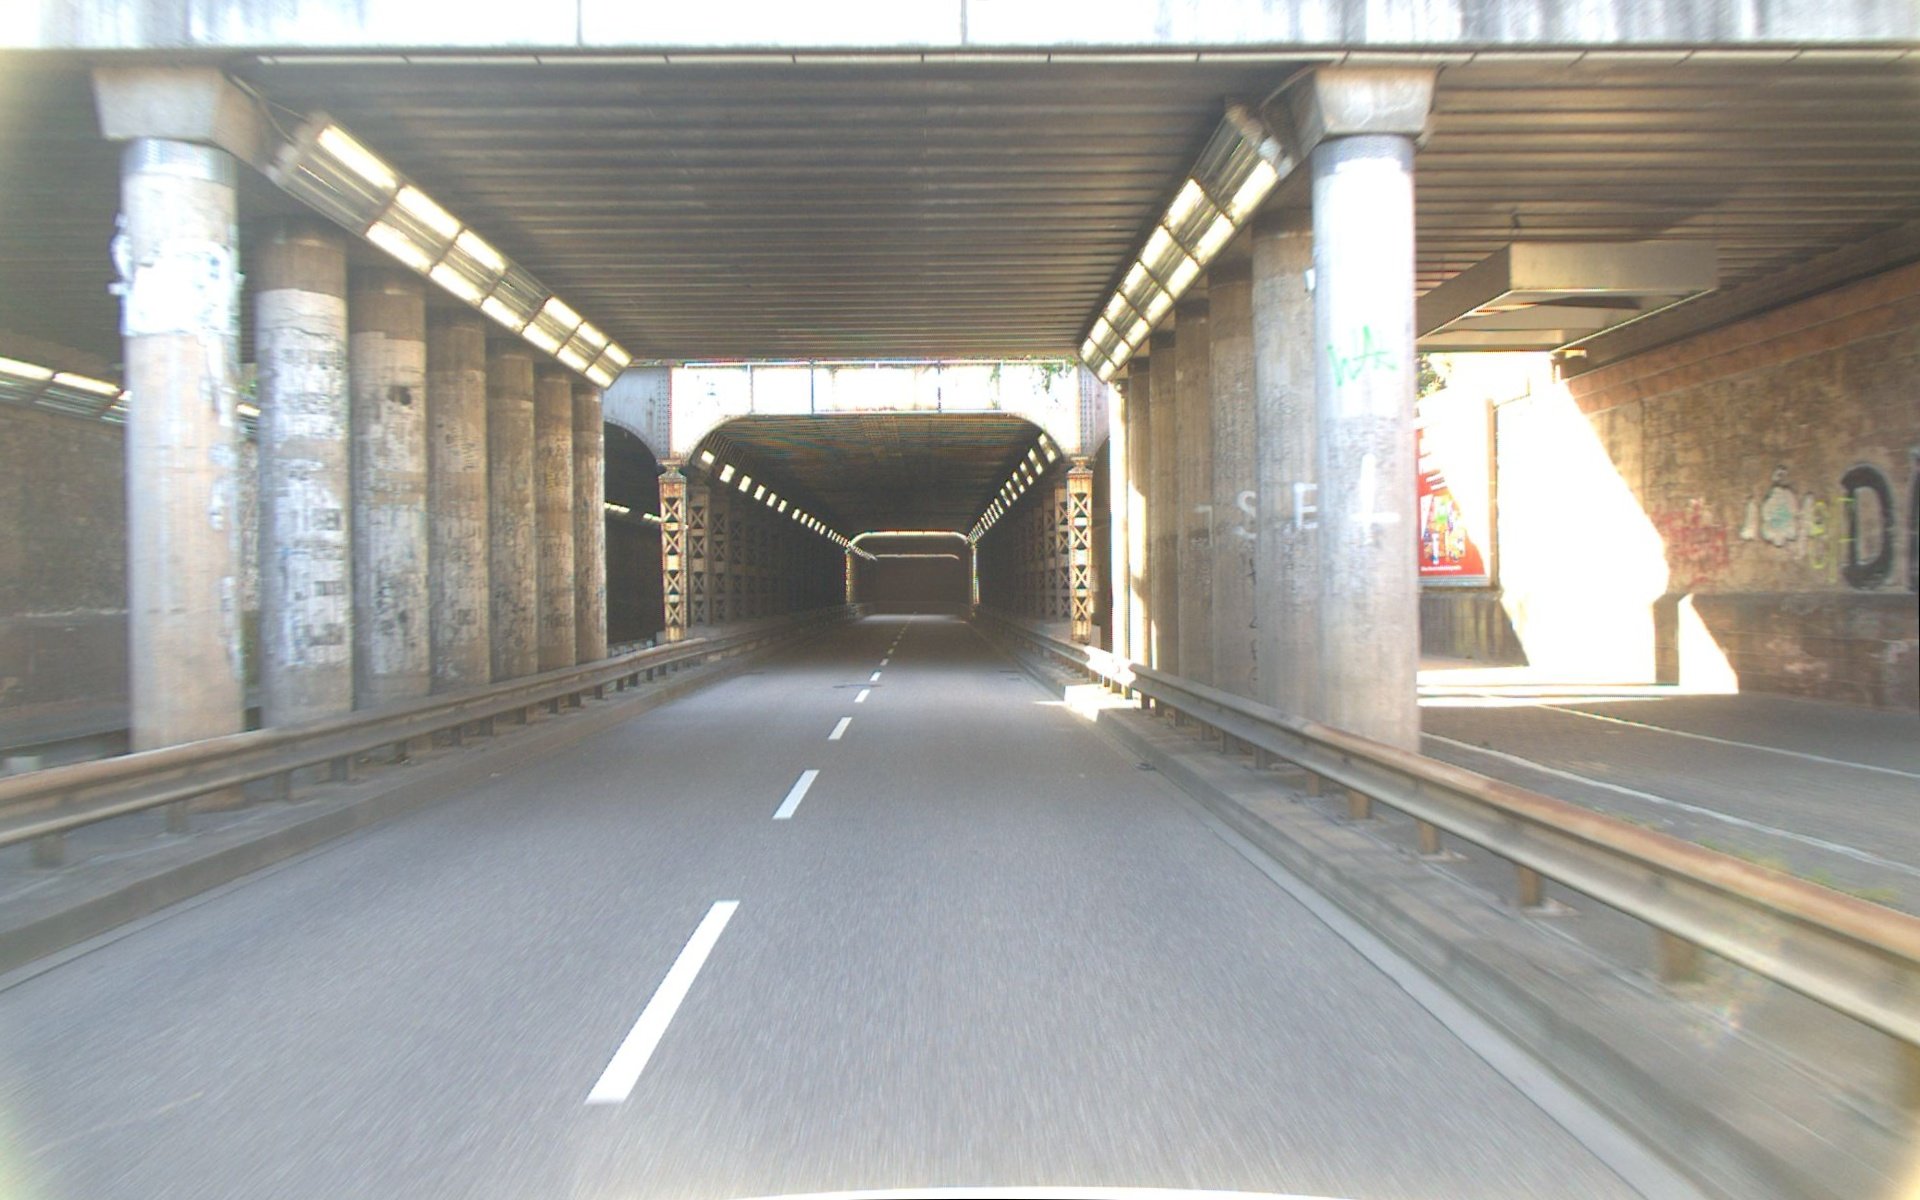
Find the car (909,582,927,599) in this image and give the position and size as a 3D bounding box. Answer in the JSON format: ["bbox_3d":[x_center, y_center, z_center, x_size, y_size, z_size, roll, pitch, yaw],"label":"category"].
[{"bbox_3d":[-4.700,-1.067,185.279,1.953,1.815,3.999,-2,0,-1],"label":"car"}]

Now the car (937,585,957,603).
[{"bbox_3d":[-1.373,-0.590,169.361,1.953,1.815,3.999,-1,0,-1],"label":"car"}]

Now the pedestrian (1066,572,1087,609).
[{"bbox_3d":[5.496,-0.447,78.329,0.784,1.731,1.111,-3,0,-2],"label":"pedestrian"}]

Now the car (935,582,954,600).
[{"bbox_3d":[-1.709,-0.984,178.633,1.953,1.815,3.999,-2,0,-1],"label":"car"}]
